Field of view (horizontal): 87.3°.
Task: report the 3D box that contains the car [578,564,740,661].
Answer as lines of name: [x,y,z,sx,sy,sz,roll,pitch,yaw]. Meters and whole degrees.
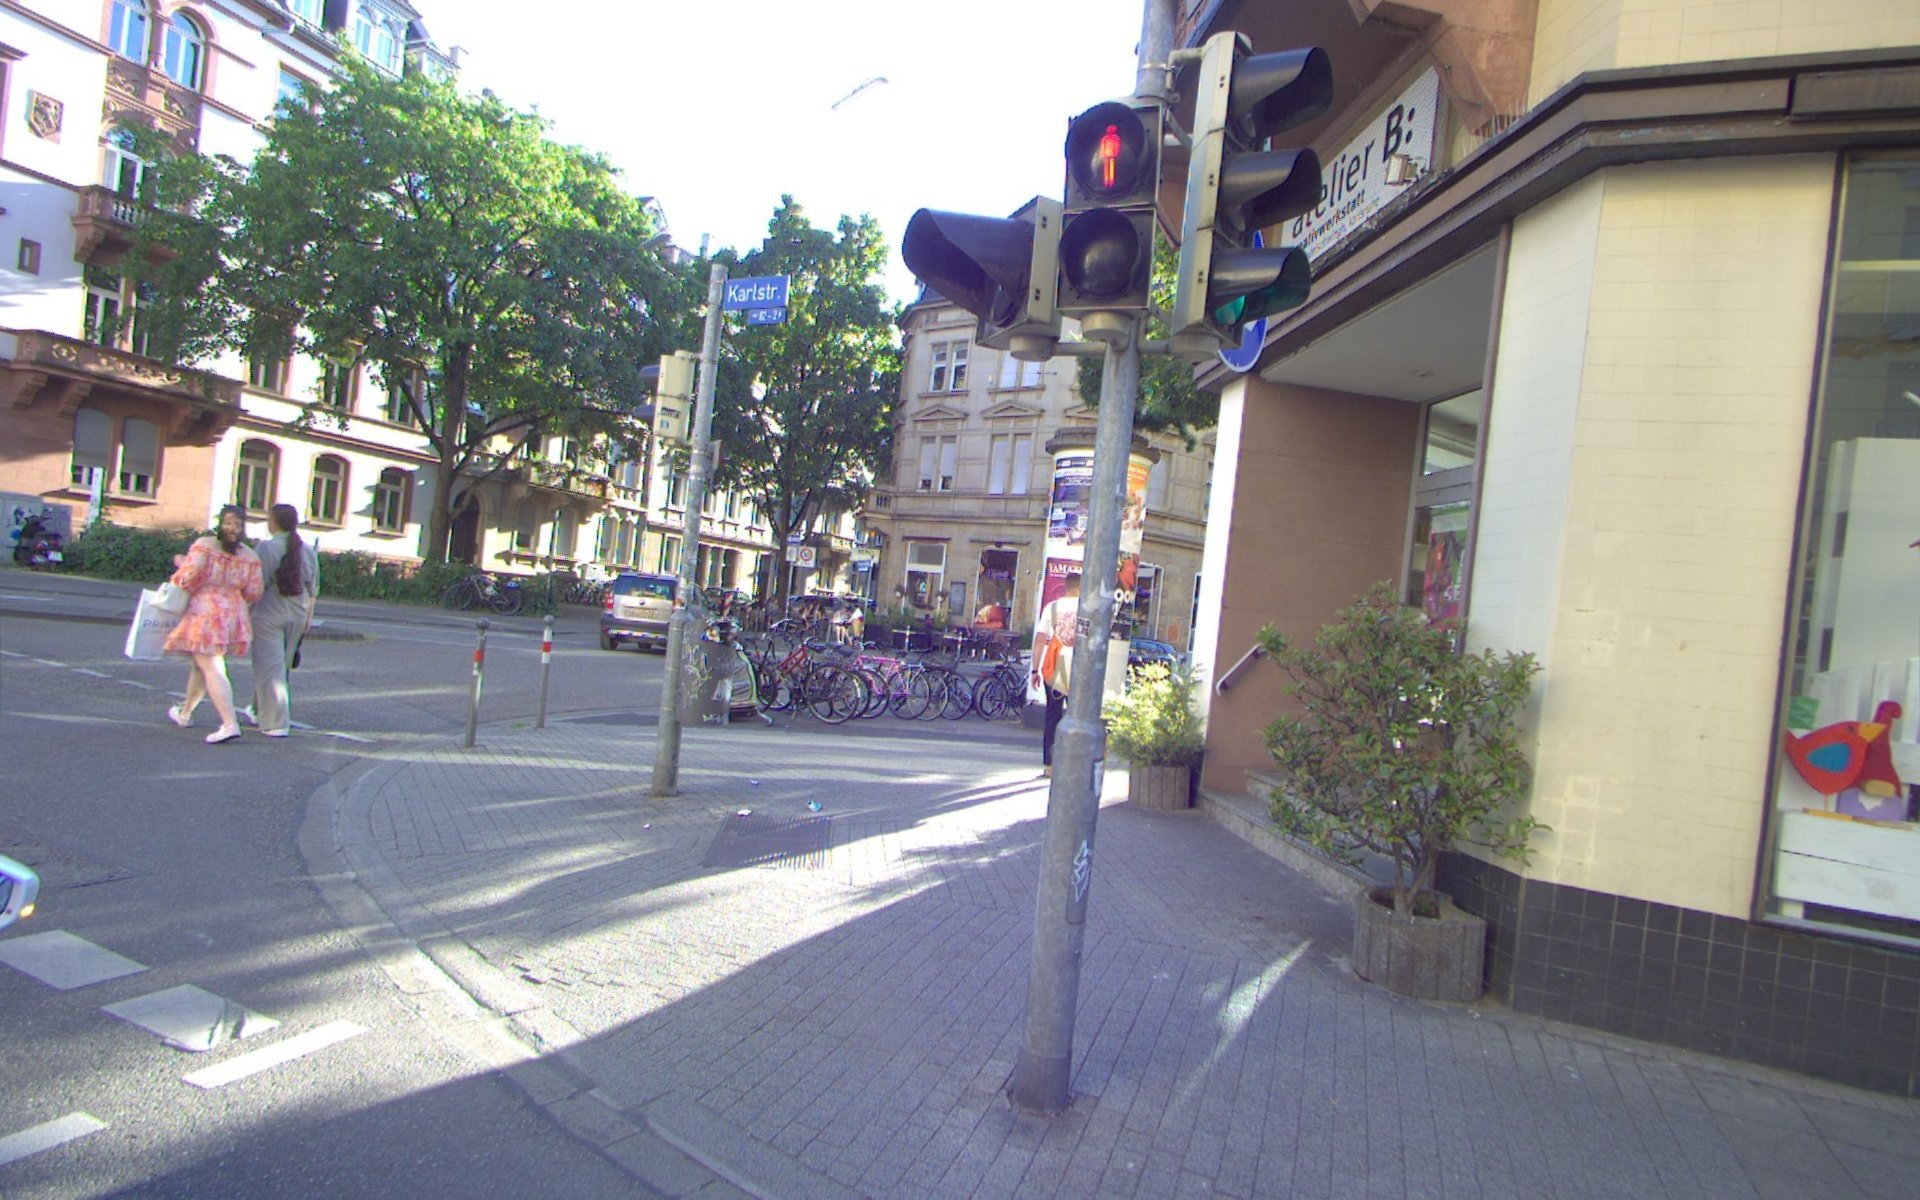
car: [-6.267,0.226,21.465,1.963,1.639,3.998,7,1,2]

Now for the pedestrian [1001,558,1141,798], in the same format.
pedestrian: [0.966,0.601,8.530,0.793,1.825,1.090,7,4,18]

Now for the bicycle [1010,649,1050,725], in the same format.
bicycle: [1.105,1.370,16.133,0.442,1.099,1.405,5,-1,0]

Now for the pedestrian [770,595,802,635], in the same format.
pedestrian: [-6.506,0.559,37.611,0.905,1.448,0.758,2,3,-34]

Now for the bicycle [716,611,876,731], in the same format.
bicycle: [-2.009,0.838,12.203,1.887,1.238,0.505,5,0,27]

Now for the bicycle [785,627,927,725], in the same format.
bicycle: [-1.431,1.008,13.640,1.887,1.112,0.450,5,0,27]

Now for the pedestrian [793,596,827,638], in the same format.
pedestrian: [-5.332,0.603,35.740,0.905,1.448,0.758,2,3,-35]

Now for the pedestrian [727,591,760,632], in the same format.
pedestrian: [-8.158,0.431,37.910,0.905,1.448,0.758,2,3,-35]

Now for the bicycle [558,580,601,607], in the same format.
bicycle: [-15.694,-0.263,41.461,1.765,0.904,0.493,6,0,25]

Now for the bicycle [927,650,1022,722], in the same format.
bicycle: [0.214,1.325,15.632,1.383,0.961,0.449,4,-1,35]

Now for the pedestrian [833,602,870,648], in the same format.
pedestrian: [-3.597,0.818,33.372,0.905,1.448,0.758,2,3,-34]

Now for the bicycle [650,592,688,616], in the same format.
bicycle: [-13.595,0.174,46.968,1.765,0.904,0.493,6,0,25]

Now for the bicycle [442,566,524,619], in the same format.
bicycle: [-12.700,-0.192,26.827,1.844,1.176,0.555,7,2,-31]

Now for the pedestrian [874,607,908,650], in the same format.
pedestrian: [-2.427,1.005,35.379,0.758,1.448,0.906,2,3,-37]

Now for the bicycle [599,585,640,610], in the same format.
bicycle: [-14.795,-0.100,43.680,1.765,0.904,0.493,6,0,25]

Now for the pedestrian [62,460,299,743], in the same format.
pedestrian: [-5.494,0.032,7.145,0.747,1.819,0.809,8,-2,13]

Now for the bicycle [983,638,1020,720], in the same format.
bicycle: [0.664,1.258,16.393,0.442,1.238,1.405,5,-1,0]

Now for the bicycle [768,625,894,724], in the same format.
bicycle: [-1.701,0.959,13.198,1.583,1.125,0.450,5,0,27]

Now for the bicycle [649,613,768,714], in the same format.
bicycle: [-2.963,0.744,11.848,1.046,1.057,0.778,4,-1,32]

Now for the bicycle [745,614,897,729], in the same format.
bicycle: [-1.764,0.879,12.661,1.887,1.238,0.450,5,0,27]

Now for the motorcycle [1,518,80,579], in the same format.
motorcycle: [-20.164,-1.138,22.052,2.250,1.033,0.719,9,1,34]

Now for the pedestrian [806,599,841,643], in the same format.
pedestrian: [-4.737,0.732,34.911,0.905,1.448,0.758,2,3,-34]

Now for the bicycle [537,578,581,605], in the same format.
bicycle: [-16.157,-0.340,40.544,1.765,0.904,0.493,6,0,25]

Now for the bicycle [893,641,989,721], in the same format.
bicycle: [-0.296,1.207,15.203,1.383,1.055,0.449,4,-1,35]

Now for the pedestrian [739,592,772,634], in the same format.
pedestrian: [-7.541,0.477,37.089,0.905,1.448,0.758,2,3,-34]

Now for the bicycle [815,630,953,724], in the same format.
bicycle: [-1.080,1.060,14.124,1.887,1.112,0.450,5,0,27]

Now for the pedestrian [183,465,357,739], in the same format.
pedestrian: [-5.226,0.019,7.652,0.657,1.932,0.693,6,0,9]

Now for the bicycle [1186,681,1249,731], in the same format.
bicycle: [4.459,1.816,17.389,1.126,0.768,0.395,1,3,-35]

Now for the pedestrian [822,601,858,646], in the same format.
pedestrian: [-4.058,0.784,34.008,0.905,1.448,0.758,2,3,-35]

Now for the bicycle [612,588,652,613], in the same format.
bicycle: [-14.566,0.002,44.620,1.765,0.904,0.493,6,0,25]

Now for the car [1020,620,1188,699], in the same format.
car: [3.814,1.579,26.634,3.951,1.593,1.792,7,0,-26]

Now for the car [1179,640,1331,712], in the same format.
car: [8.546,2.206,29.128,3.951,1.593,1.792,7,0,-26]

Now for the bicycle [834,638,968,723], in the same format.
bicycle: [-0.868,1.146,14.542,1.887,1.012,0.450,5,0,27]

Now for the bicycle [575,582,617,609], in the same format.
bicycle: [-15.290,-0.195,42.248,1.765,0.904,0.493,6,0,25]

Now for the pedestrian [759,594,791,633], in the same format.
pedestrian: [-7.091,0.522,38.600,0.905,1.448,0.758,2,3,-35]

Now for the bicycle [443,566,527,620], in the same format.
bicycle: [-12.415,-0.175,26.302,1.844,1.176,0.555,7,2,-31]
